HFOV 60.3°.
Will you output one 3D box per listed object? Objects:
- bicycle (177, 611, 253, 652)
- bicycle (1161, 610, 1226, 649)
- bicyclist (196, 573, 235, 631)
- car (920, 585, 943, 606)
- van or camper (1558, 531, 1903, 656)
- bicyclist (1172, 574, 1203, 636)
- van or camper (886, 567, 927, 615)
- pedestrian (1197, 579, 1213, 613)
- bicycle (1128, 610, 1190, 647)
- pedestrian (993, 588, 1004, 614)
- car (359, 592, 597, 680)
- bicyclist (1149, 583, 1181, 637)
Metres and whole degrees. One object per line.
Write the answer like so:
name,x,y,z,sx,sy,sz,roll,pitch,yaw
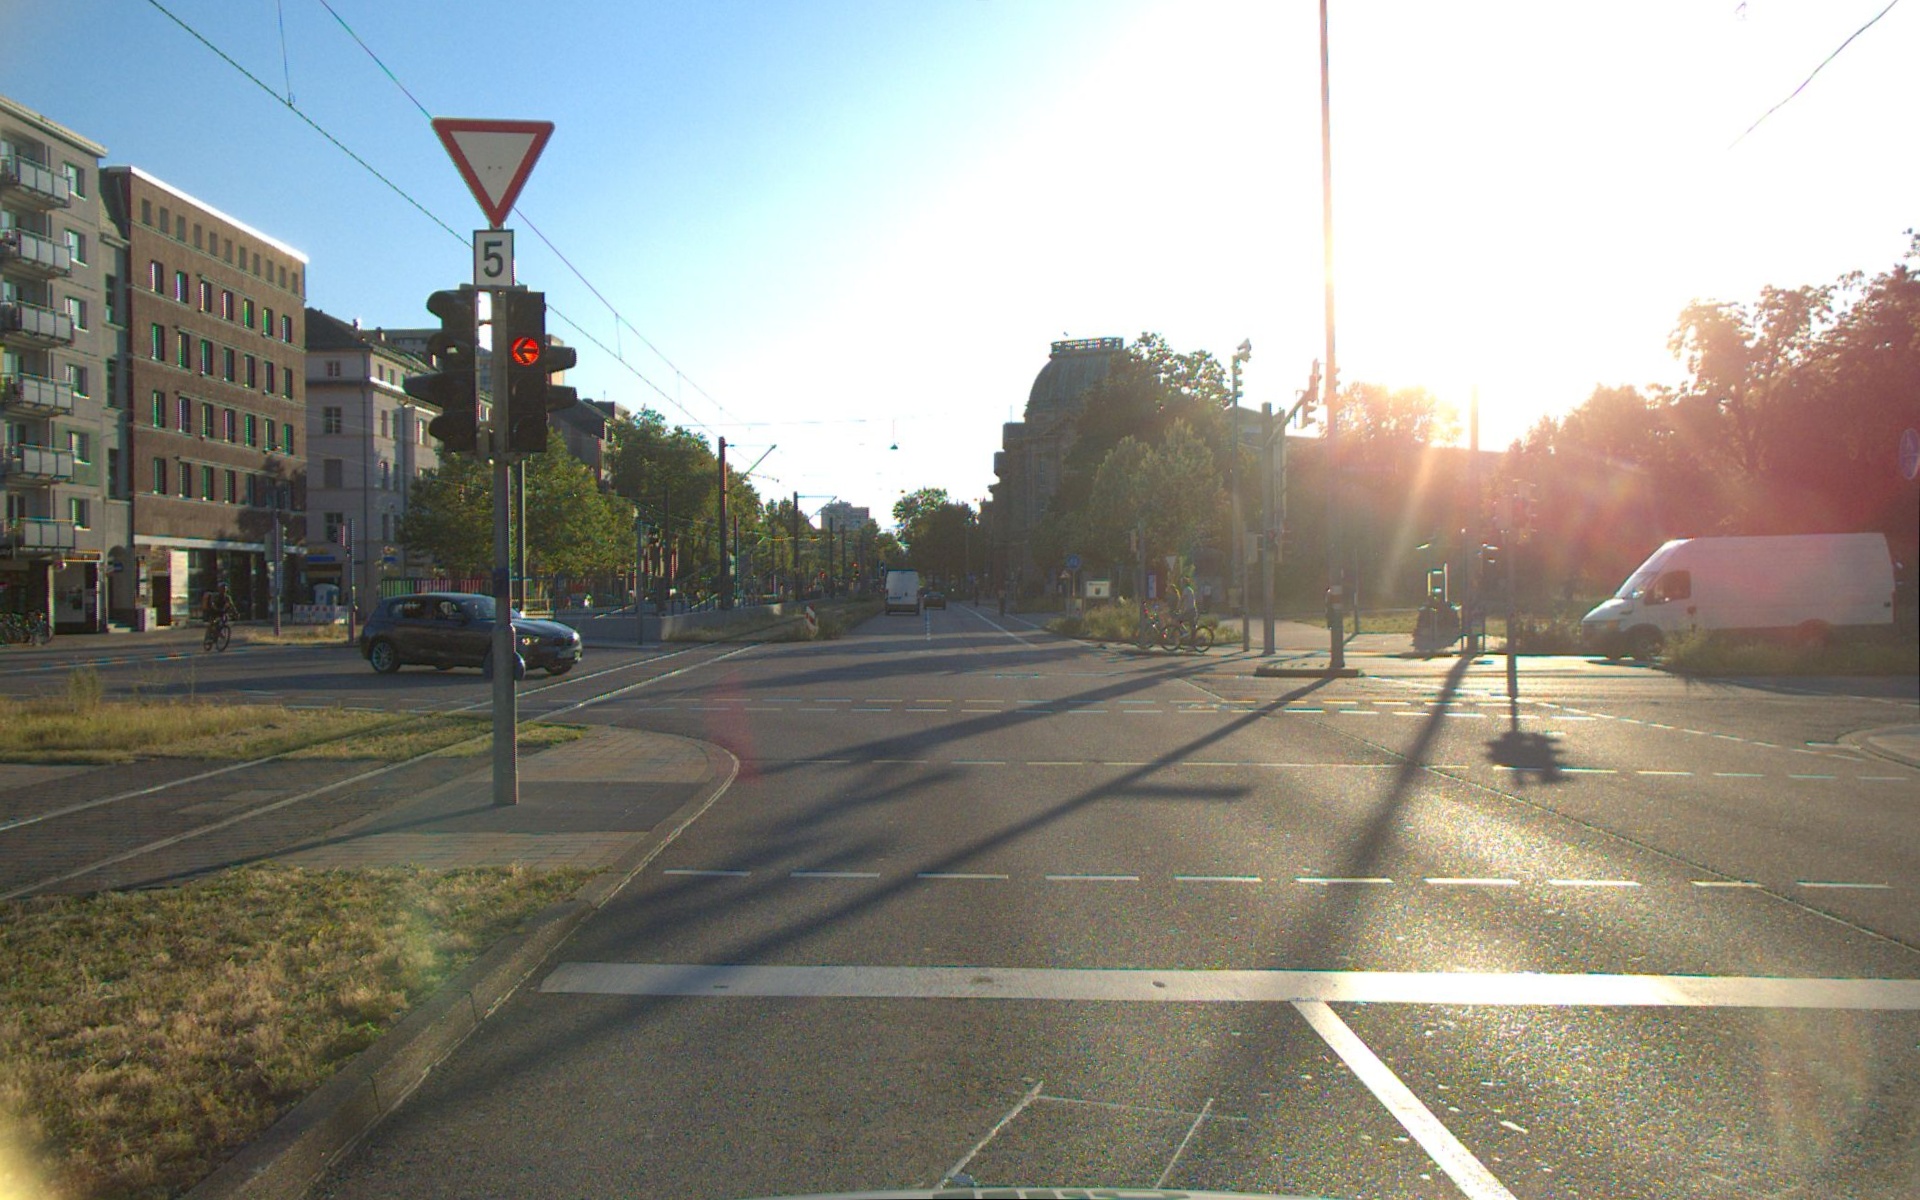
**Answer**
bicycle,-19.277,0.819,42.820,1.702,0.986,0.700,2,2,-20
bicycle,6.188,0.783,43.870,1.692,0.987,0.610,0,1,5
bicyclist,-19.258,0.049,42.805,0.841,1.467,0.659,1,1,-20
car,-2.113,-0.363,123.567,1.702,1.410,4.000,-1,2,-1
van or camper,17.913,-0.177,38.750,6.897,2.721,2.599,-1,1,1
bicyclist,6.029,0.133,43.868,0.781,1.598,0.663,-1,1,4
van or camper,-3.129,-0.579,97.349,2.217,2.670,4.503,-1,2,0
pedestrian,12.192,-0.194,82.327,0.668,1.639,0.612,-1,1,-1
bicycle,5.501,0.789,45.755,1.682,0.987,0.610,0,1,3
pedestrian,2.228,0.066,96.337,0.603,1.501,0.800,-1,1,3
car,-8.685,0.642,29.800,3.907,1.459,1.718,-1,1,24
bicyclist,5.663,0.278,45.740,0.835,1.467,0.663,-1,1,3
